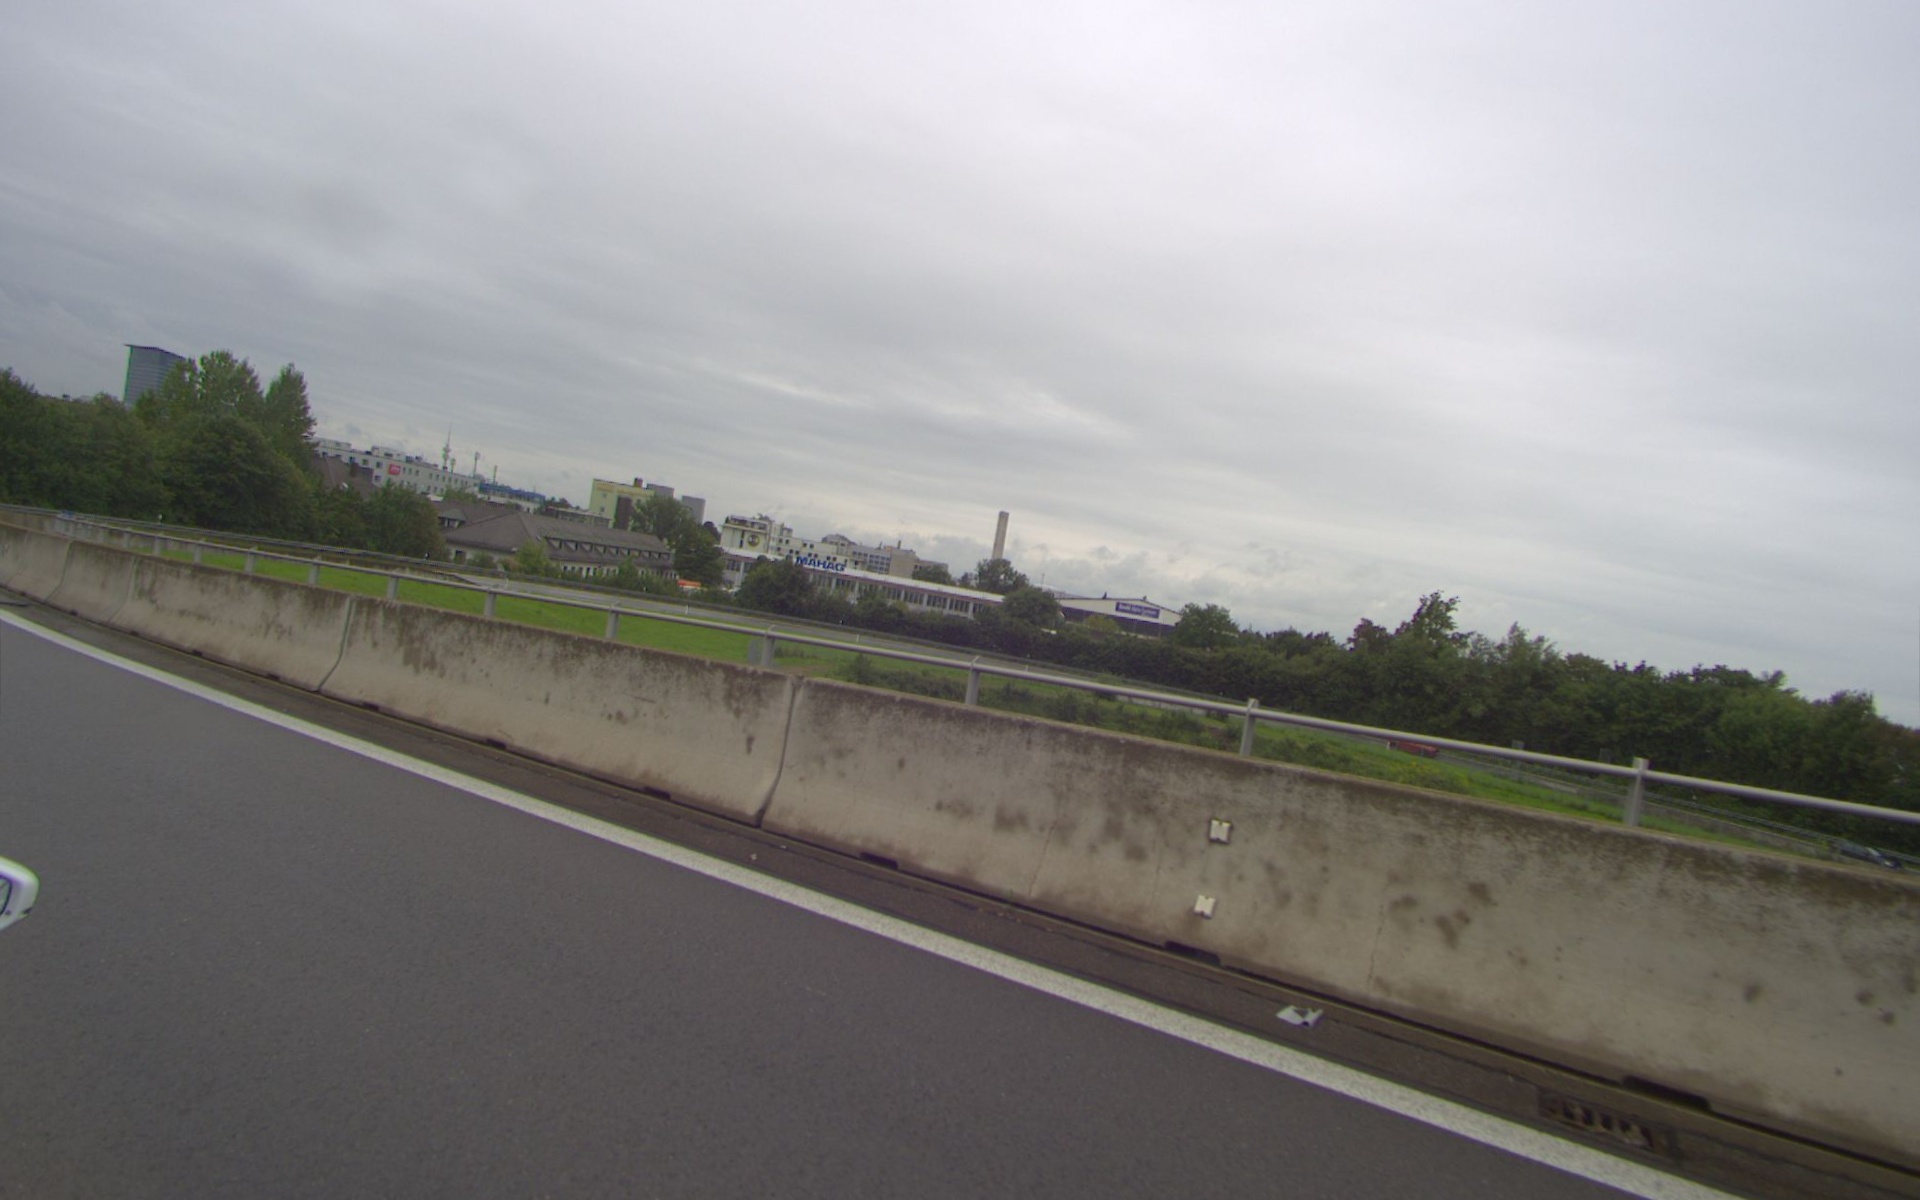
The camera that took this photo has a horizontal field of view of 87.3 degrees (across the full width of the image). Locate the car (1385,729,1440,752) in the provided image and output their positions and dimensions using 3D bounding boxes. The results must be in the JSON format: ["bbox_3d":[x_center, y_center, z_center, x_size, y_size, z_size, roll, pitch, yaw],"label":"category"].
[{"bbox_3d":[43.978,13.676,97.877,4.463,1.620,1.711,3,-5,41],"label":"car"}]
